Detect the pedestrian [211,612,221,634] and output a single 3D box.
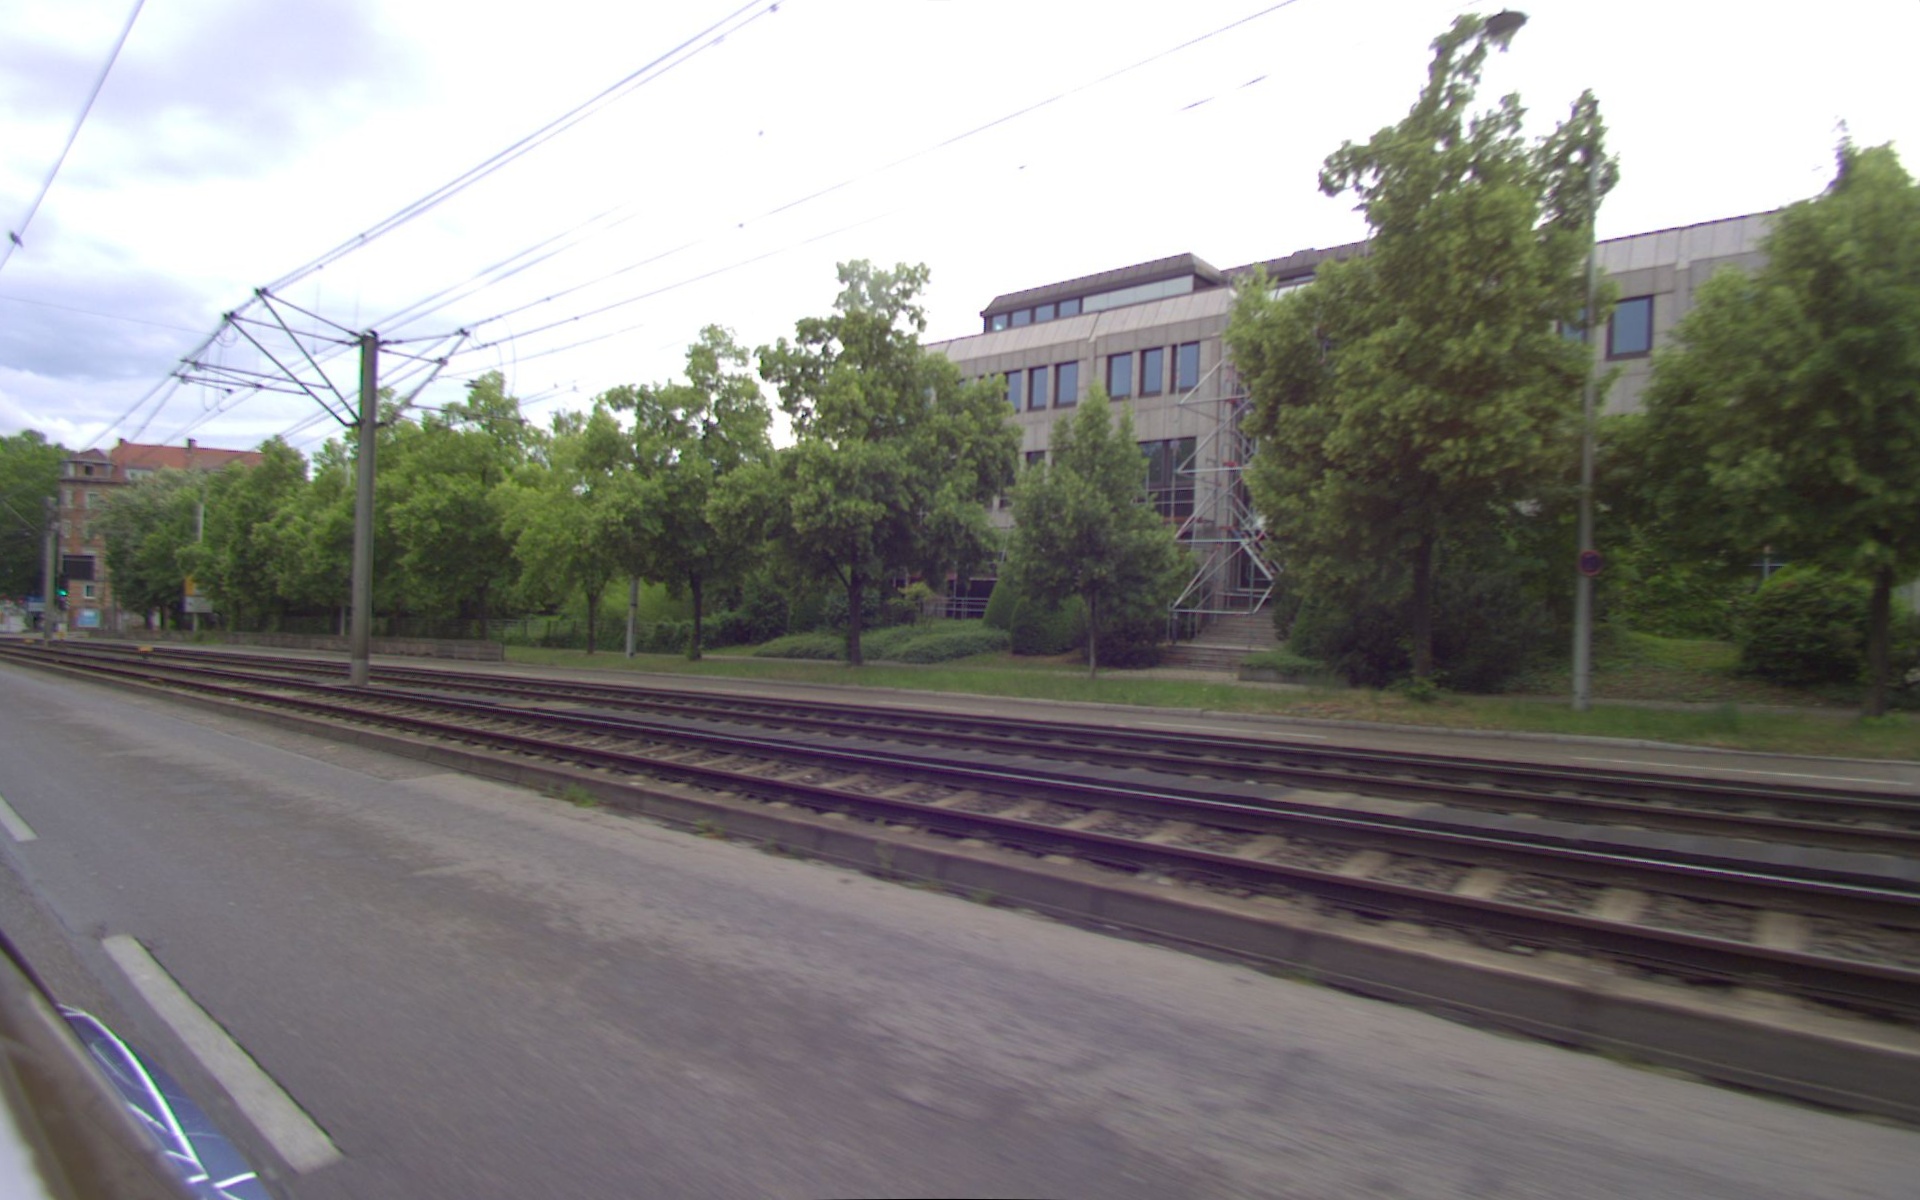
[{"bbox_3d":[-63.778,1.972,86.759,0.653,1.917,0.590,-1,-1,38],"label":"pedestrian"}]
